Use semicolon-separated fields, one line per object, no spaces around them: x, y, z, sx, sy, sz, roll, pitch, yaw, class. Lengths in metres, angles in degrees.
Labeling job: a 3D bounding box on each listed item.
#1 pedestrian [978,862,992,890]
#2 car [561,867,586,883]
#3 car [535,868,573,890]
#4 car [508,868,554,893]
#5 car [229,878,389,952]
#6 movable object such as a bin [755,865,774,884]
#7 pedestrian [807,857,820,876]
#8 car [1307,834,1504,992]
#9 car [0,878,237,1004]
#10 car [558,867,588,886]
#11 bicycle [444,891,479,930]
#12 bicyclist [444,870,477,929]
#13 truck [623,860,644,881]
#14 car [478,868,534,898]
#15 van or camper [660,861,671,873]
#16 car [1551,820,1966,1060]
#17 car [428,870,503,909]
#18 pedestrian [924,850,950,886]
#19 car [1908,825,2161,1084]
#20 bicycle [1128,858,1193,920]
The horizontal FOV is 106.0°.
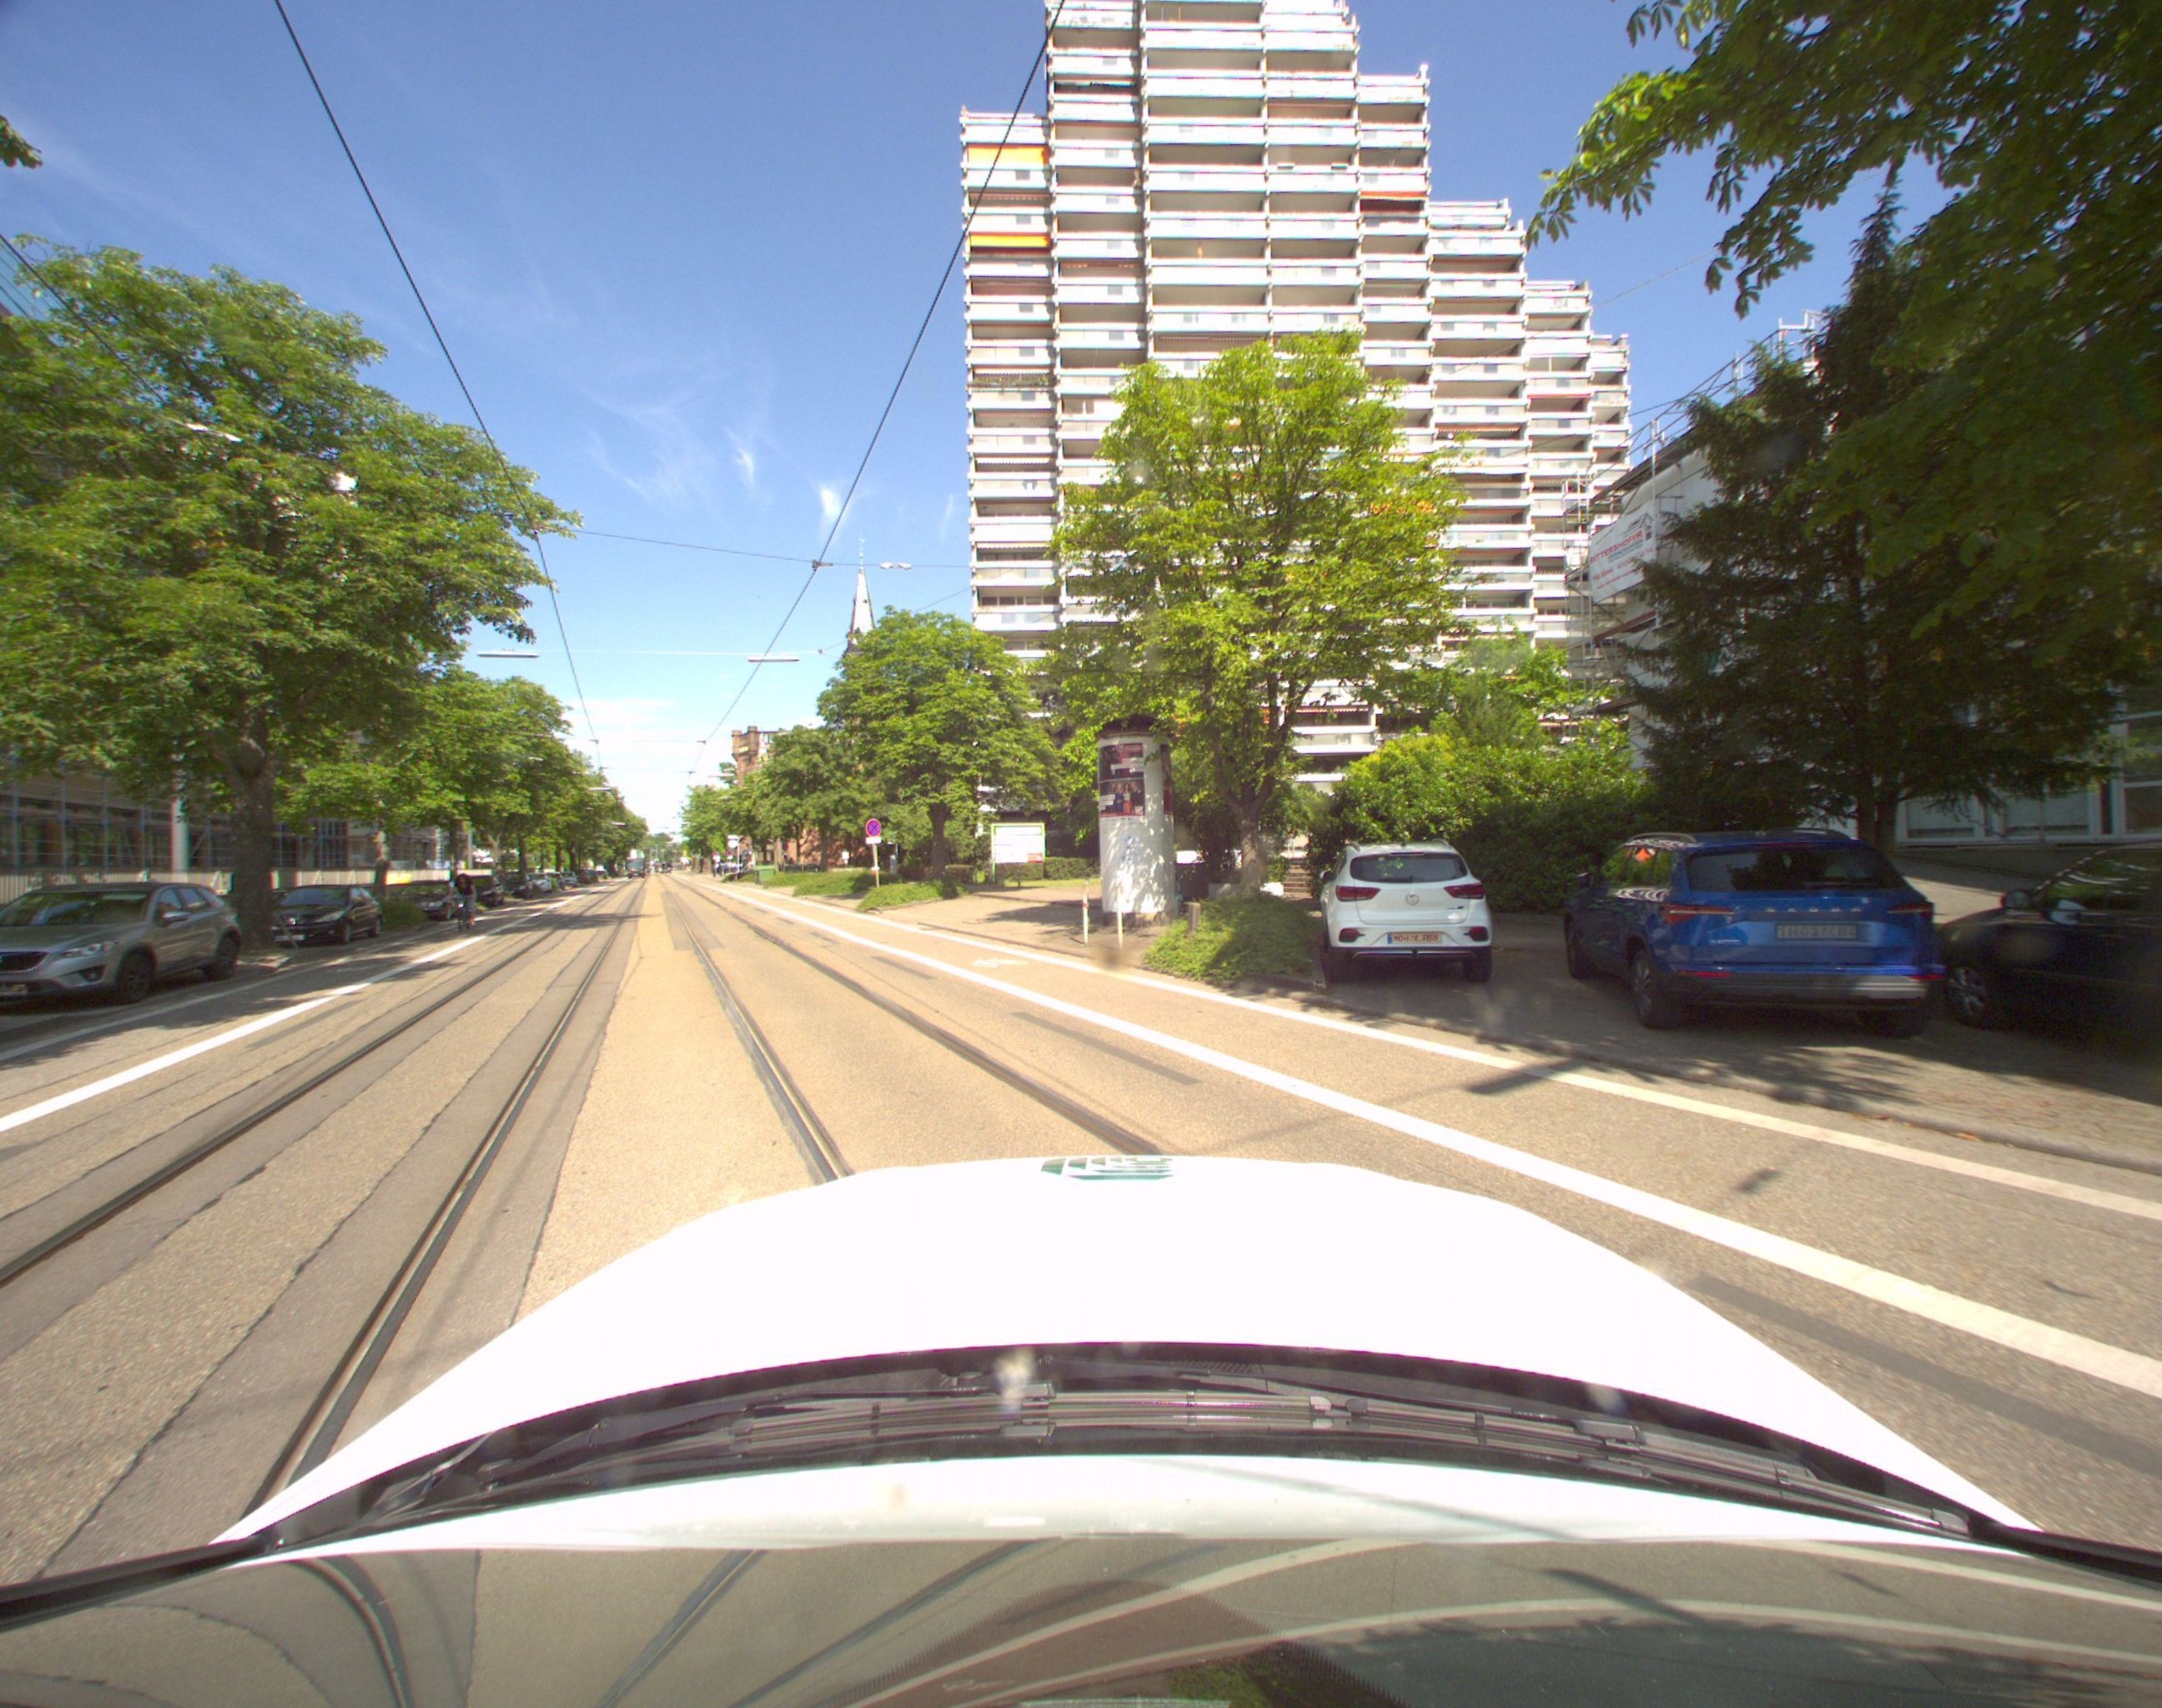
-4.015;0.913;34.154;0.532;1.154;0.700;-1;-1;-6;pedestrian
-54.629;2.247;87.763;2.005;1.640;3.963;-1;-1;-28;car
-41.816;1.924;64.697;2.004;1.640;3.966;-1;0;-26;car
-37.966;1.811;56.294;2.004;1.640;3.966;-1;0;-26;car
-18.948;1.414;20.220;1.826;1.453;3.963;-4;1;-28;car
-24.027;1.541;61.797;1.267;1.453;1.071;0;-1;-23;movable object such as a bin
-24.718;1.167;75.246;1.060;1.798;1.256;0;-1;-20;pedestrian
3.951;0.643;10.565;1.800;1.606;3.961;-3;-1;14;car
-14.411;1.145;11.822;1.826;1.494;4.070;-1;-1;-28;car
-47.807;2.079;76.732;1.957;1.640;3.966;-1;0;-26;car
-17.638;1.598;23.208;0.599;1.006;1.472;-1;-1;-30;bicycle
-17.631;1.278;23.151;0.634;1.606;0.695;-1;-1;-30;bicyclist
-65.903;2.453;119.937;2.573;2.938;5.033;-1;-1;-27;truck
-33.115;1.640;47.005;2.004;1.640;3.966;-1;0;-26;car
-94.974;2.924;186.077;2.056;2.620;5.806;-1;0;-29;van or camper
5.810;0.558;7.643;1.760;1.622;3.966;-2;1;21;car
-28.288;1.595;37.564;2.004;1.640;3.966;-1;0;-26;car
-7.400;0.722;41.822;1.062;1.798;1.254;1;-1;-25;pedestrian
7.216;0.576;4.952;1.559;1.531;3.473;-1;0;16;car
1.752;0.759;18.139;0.549;1.308;1.604;0;-1;-34;bicycle
